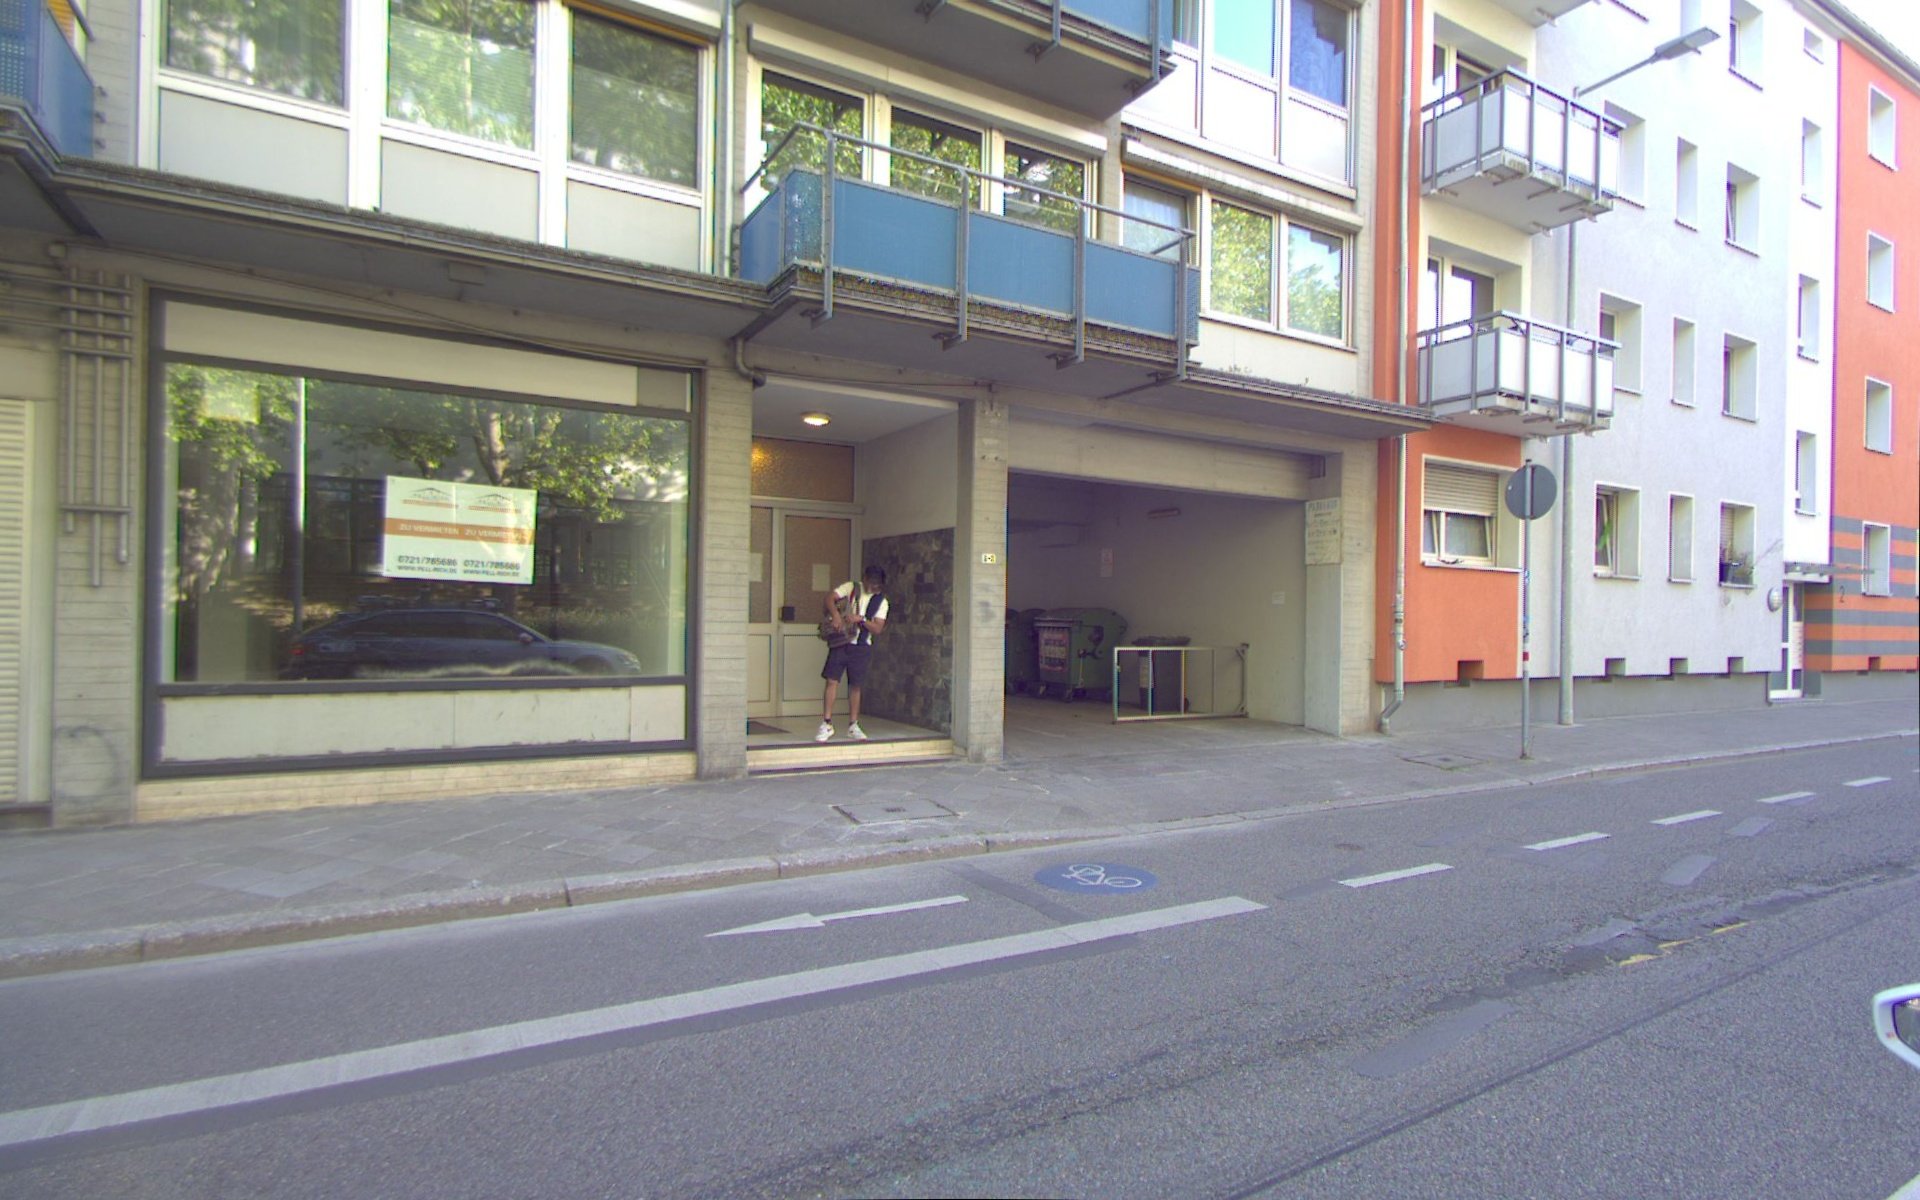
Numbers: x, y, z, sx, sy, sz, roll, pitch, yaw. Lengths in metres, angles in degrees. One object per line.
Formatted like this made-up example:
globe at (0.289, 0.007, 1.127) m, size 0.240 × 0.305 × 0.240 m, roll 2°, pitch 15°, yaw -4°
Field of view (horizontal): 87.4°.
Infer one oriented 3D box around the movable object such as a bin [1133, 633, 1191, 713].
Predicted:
movable object such as a bin at (2.905, 1.037, 14.432) m, size 0.646 × 1.102 × 0.487 m, roll 1°, pitch 0°, yaw -30°

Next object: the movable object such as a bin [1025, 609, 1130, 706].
movable object such as a bin at (1.825, 0.871, 15.777) m, size 1.067 × 1.433 × 1.312 m, roll 1°, pitch -1°, yaw -30°

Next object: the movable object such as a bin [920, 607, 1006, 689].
movable object such as a bin at (0.043, 0.864, 18.616) m, size 1.067 × 1.433 × 1.312 m, roll 1°, pitch -1°, yaw -30°

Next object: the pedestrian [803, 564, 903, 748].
pedestrian at (-0.977, 0.496, 9.185) m, size 0.747 × 1.600 × 0.511 m, roll 1°, pitch 0°, yaw -30°

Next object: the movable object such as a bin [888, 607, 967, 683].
movable object such as a bin at (-0.649, 0.862, 19.819) m, size 1.067 × 1.433 × 1.312 m, roll 1°, pitch -1°, yaw -30°

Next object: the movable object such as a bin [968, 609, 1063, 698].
movable object such as a bin at (0.931, 0.885, 17.159) m, size 1.067 × 1.433 × 1.312 m, roll 1°, pitch -1°, yaw -30°
